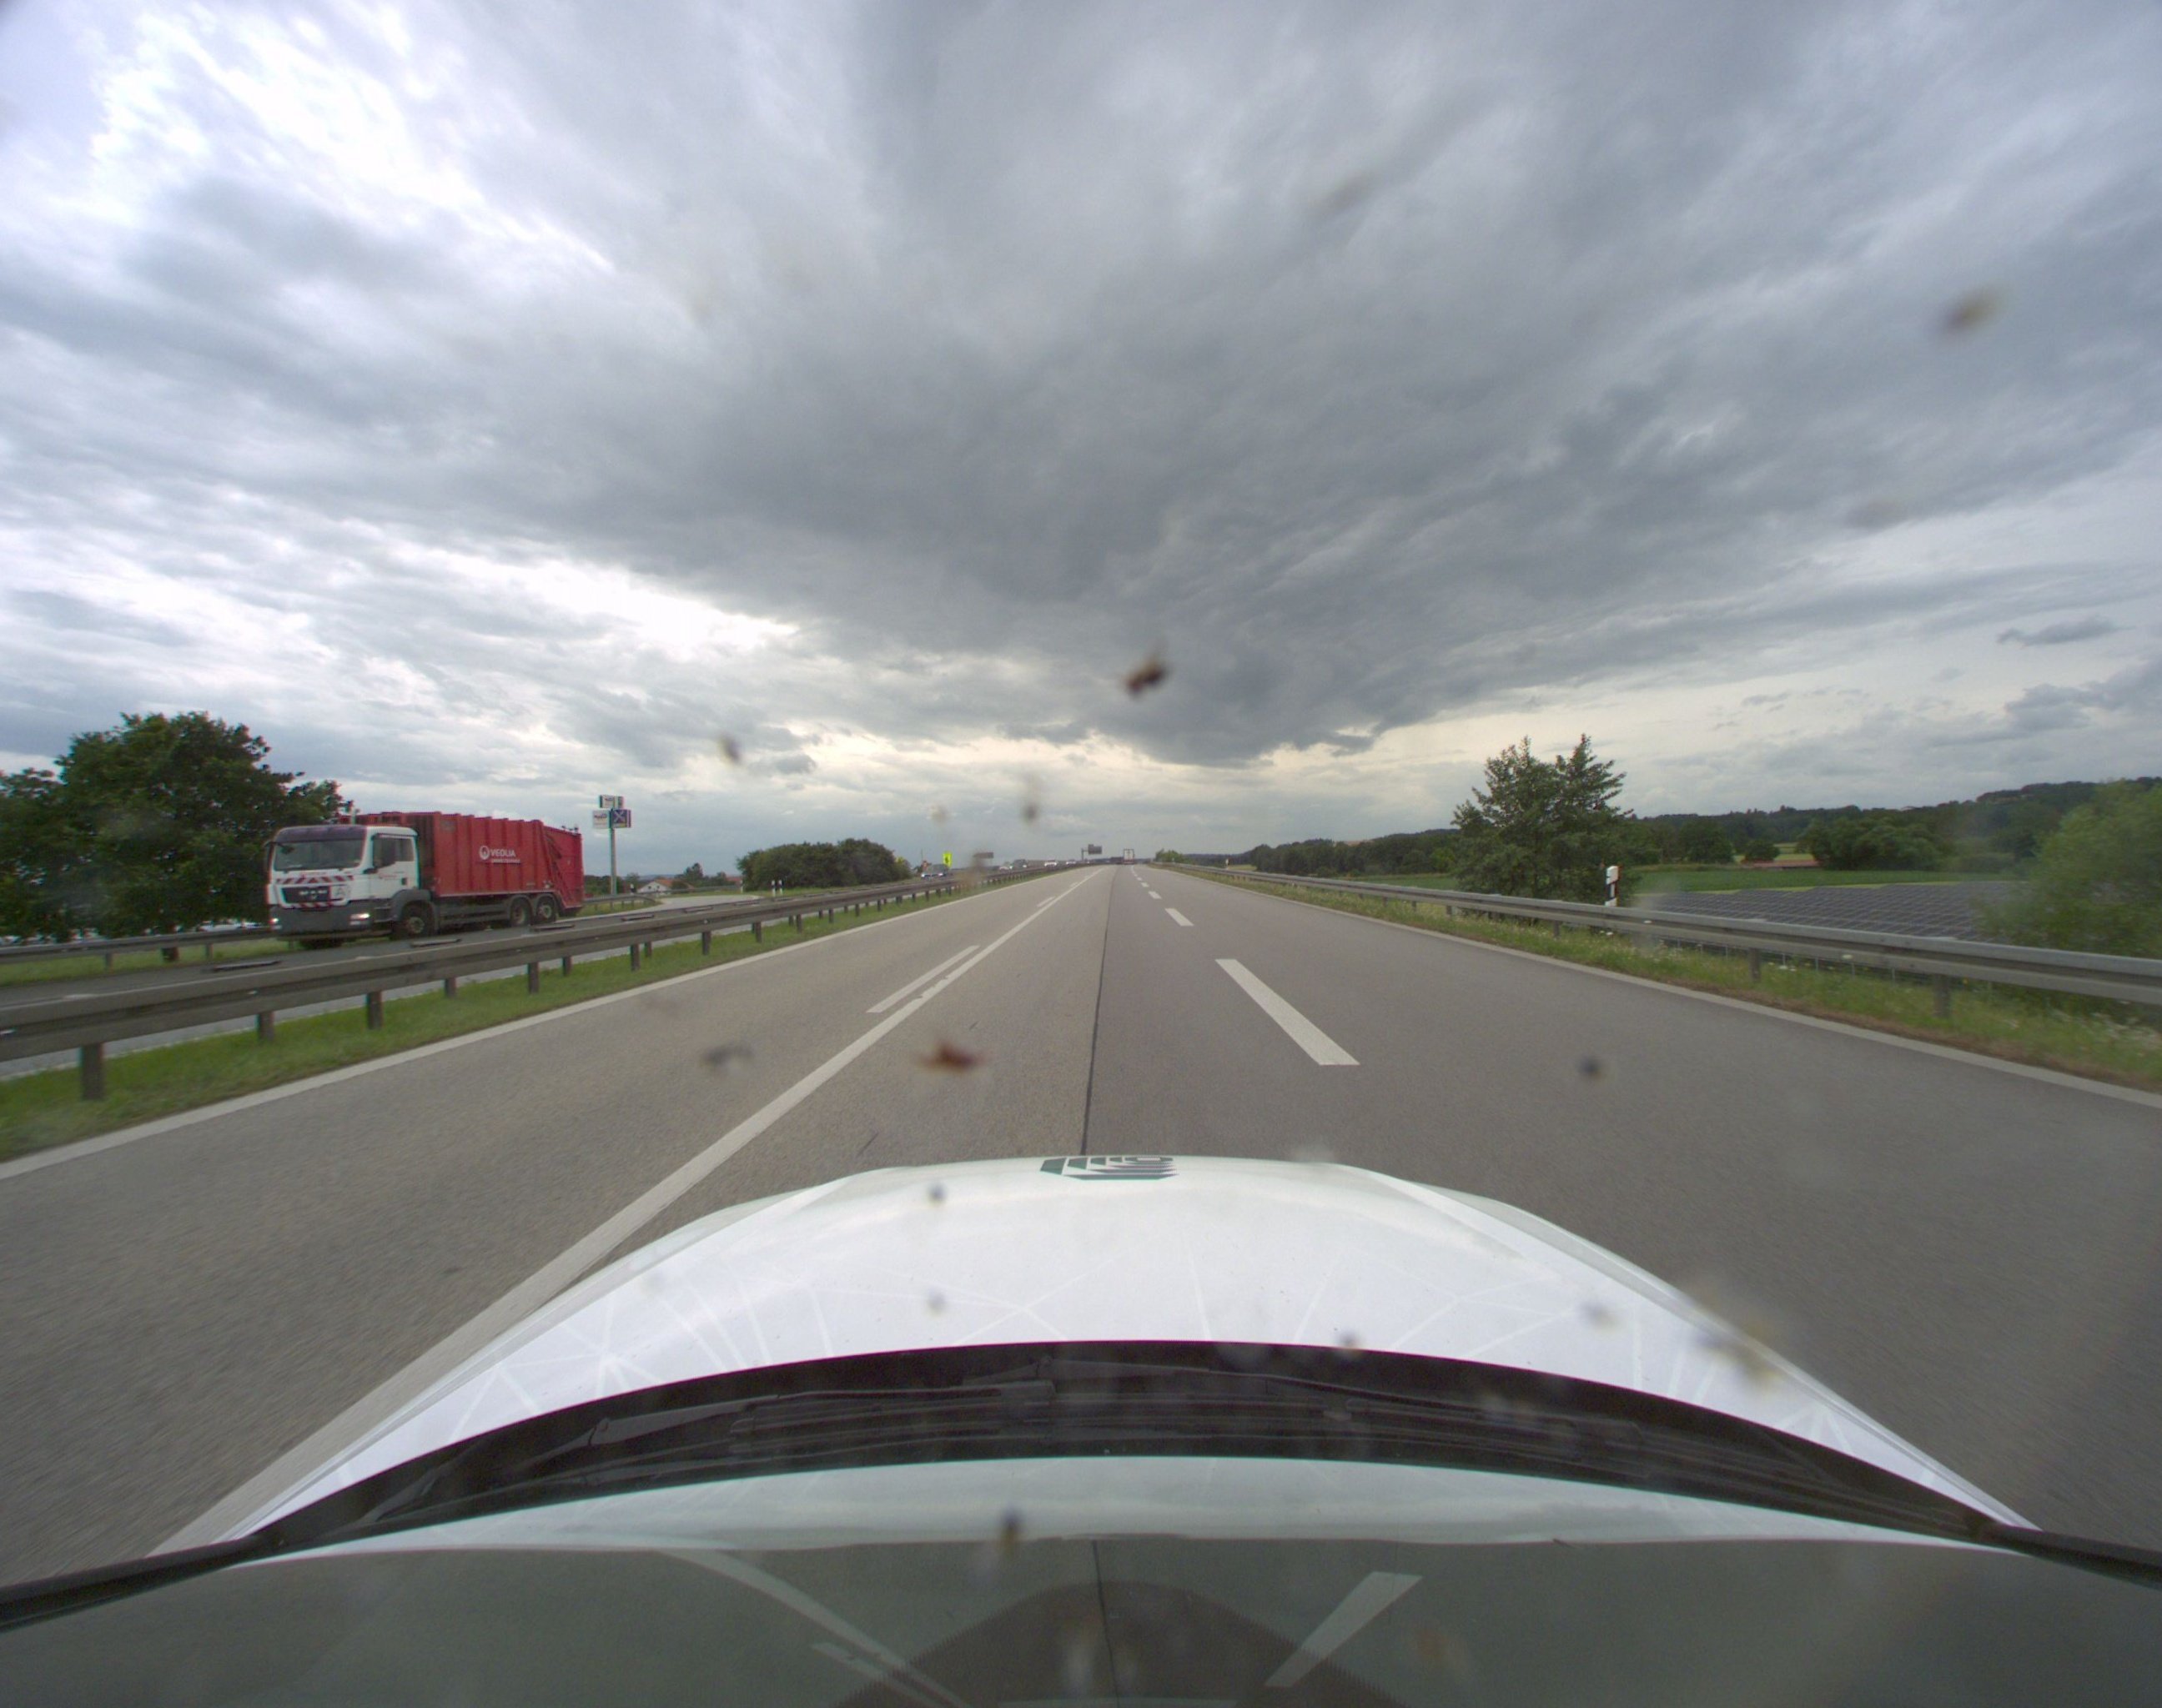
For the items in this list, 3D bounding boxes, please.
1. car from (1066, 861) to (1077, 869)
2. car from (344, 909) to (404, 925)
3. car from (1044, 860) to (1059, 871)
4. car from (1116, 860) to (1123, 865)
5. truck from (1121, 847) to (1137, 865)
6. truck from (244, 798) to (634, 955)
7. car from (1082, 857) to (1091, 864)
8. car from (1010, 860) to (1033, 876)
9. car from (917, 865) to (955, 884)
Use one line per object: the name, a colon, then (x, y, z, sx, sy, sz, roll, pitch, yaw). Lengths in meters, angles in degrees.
car: (-1.809, 2.219, 162.615, 1.884, 1.588, 4.765, -3, 0, 3)
car: (-73.777, 6.560, 85.026, 4.291, 1.473, 1.907, 1, -1, -19)
car: (-4.410, 1.708, 121.886, 1.846, 1.588, 4.819, -3, 0, 3)
car: (11.911, 2.530, 252.672, 1.985, 1.420, 4.002, -1, 0, 2)
truck: (13.254, 0.717, 221.741, 3.654, 4.413, 16.363, -2, -2, 5)
truck: (-18.143, 0.575, 24.689, 2.659, 3.536, 11.081, -4, -1, 1)
car: (1.350, 1.703, 206.504, 2.127, 1.588, 5.002, -3, 0, 3)
car: (-6.395, 1.539, 88.385, 1.884, 1.588, 4.765, -3, 0, 3)
car: (-11.255, 1.558, 63.585, 1.818, 1.345, 4.786, -3, 0, 3)
